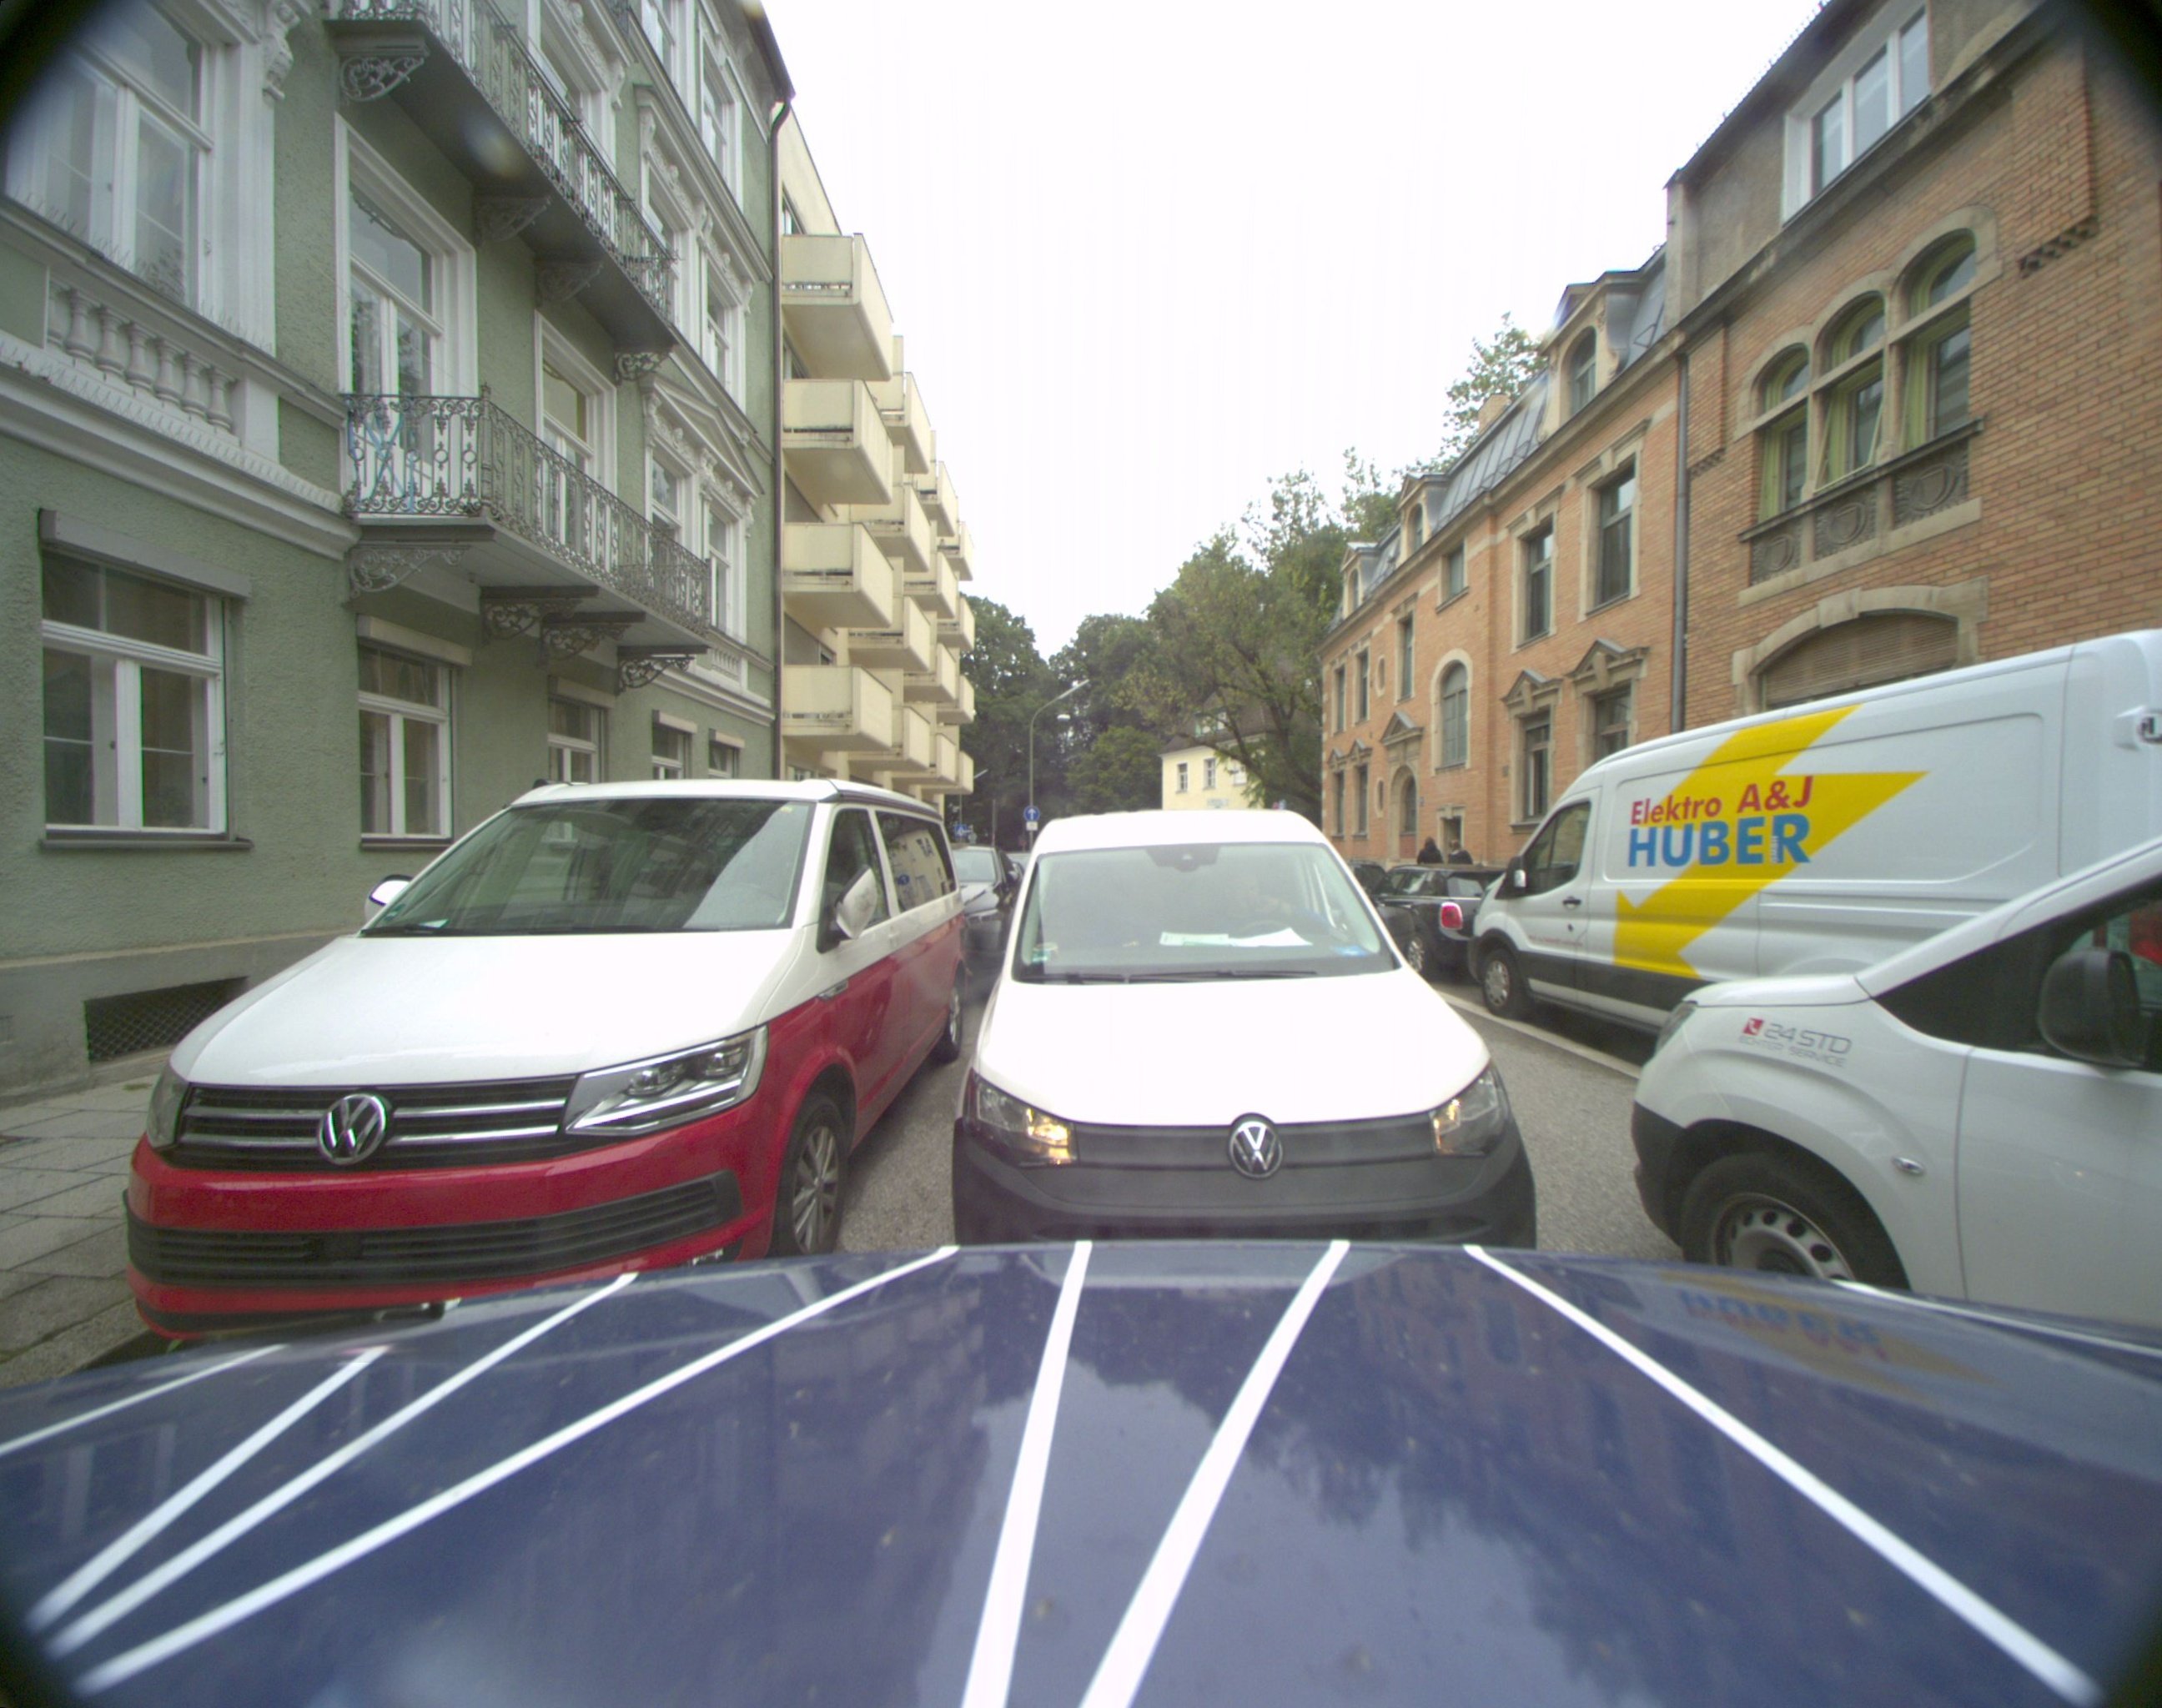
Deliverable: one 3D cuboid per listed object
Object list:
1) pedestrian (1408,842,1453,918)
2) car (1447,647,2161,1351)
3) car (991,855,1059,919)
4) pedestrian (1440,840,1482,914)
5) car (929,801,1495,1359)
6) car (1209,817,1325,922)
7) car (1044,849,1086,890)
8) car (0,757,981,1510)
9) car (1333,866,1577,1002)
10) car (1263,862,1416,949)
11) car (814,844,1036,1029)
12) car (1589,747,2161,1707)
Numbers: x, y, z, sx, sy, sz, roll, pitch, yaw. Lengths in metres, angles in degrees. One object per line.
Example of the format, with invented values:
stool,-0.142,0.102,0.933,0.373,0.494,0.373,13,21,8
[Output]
pedestrian,7.758,0.559,16.872,0.634,1.623,0.675,2,1,1
car,4.794,0.501,5.211,1.986,2.464,5.222,1,1,0
car,-1.468,0.851,21.303,1.551,1.562,3.977,-2,0,0
pedestrian,8.449,0.506,16.921,0.634,1.623,0.467,2,1,1
car,0.451,0.707,4.426,1.776,1.761,4.000,1,1,1
car,5.023,0.388,21.212,2.118,2.525,4.421,3,0,1
car,-0.687,0.651,34.212,1.766,1.740,3.999,1,1,-1
car,-1.876,0.725,4.249,1.858,1.885,4.592,-2,0,1
car,4.812,0.934,10.350,1.527,1.434,3.540,2,0,0
car,5.032,0.936,15.404,1.694,1.434,3.984,2,0,0
car,-1.658,0.818,9.706,1.832,1.747,4.553,-2,0,0
car,2.618,0.737,0.419,1.775,1.793,4.572,1,1,3
